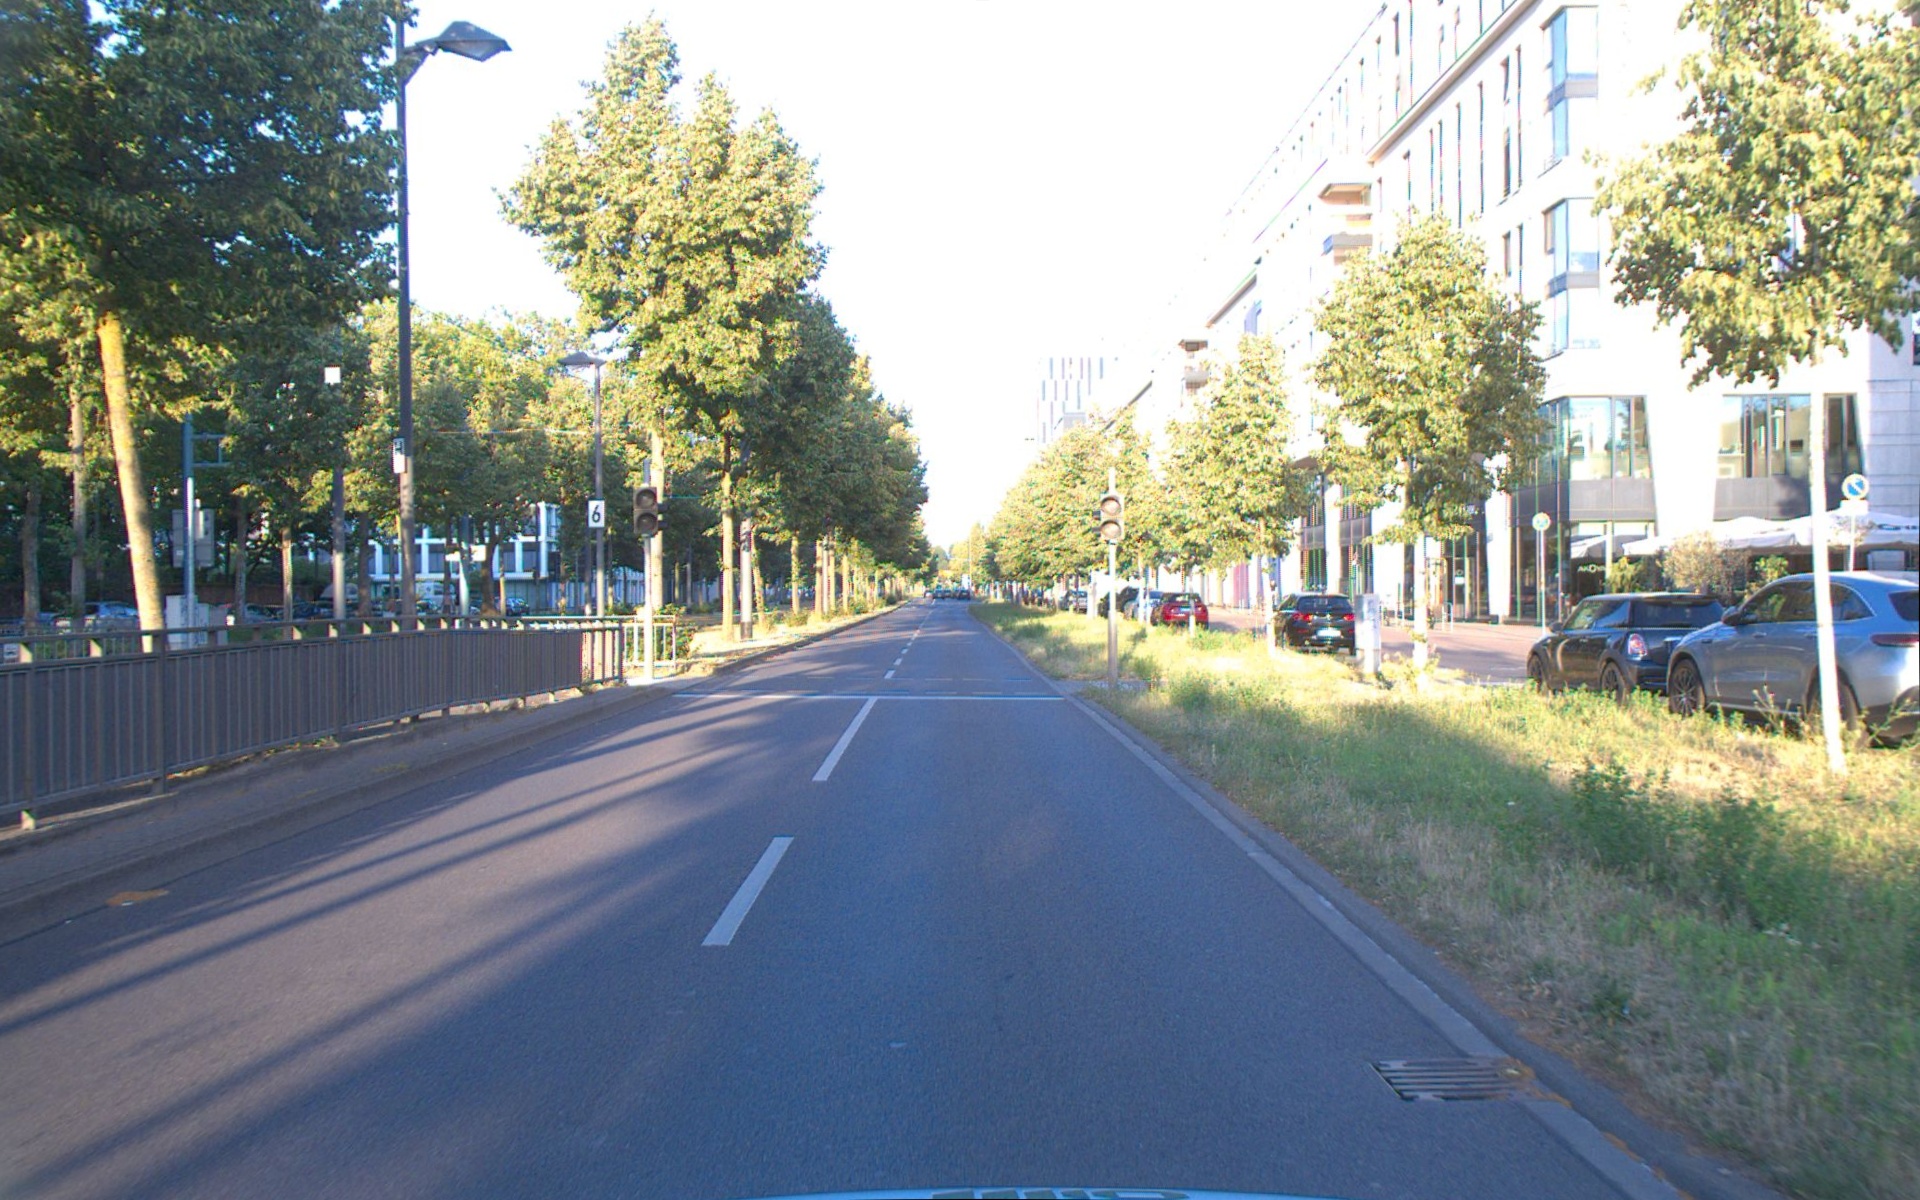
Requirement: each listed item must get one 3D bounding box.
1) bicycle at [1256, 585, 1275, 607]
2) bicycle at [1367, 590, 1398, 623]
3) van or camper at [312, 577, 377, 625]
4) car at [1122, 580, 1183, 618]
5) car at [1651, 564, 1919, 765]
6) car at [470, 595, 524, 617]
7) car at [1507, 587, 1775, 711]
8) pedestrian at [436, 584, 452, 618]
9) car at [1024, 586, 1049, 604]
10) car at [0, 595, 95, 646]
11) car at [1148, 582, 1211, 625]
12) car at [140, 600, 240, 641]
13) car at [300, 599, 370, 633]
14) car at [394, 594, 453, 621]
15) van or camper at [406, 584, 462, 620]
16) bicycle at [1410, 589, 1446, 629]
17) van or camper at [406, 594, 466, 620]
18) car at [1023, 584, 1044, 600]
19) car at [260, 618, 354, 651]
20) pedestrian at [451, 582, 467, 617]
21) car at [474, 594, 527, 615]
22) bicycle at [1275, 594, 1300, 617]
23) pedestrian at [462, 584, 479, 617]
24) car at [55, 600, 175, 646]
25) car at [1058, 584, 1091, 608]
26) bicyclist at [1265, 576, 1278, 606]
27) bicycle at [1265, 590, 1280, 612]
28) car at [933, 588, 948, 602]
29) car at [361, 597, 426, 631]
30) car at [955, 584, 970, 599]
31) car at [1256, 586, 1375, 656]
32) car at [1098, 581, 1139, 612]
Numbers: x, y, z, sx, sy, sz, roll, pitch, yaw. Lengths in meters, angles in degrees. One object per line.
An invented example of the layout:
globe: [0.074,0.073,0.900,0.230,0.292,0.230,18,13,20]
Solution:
bicycle: [15.115,-0.180,81.875,0.523,1.078,1.610,-1,0,-6]
bicycle: [15.412,0.231,60.322,0.535,1.148,1.867,-2,0,-2]
van or camper: [-37.520,0.043,100.907,2.043,2.783,5.493,-1,0,-2]
car: [8.133,-0.067,70.236,1.882,1.527,5.009,-1,1,-1]
car: [8.622,0.502,16.065,1.772,1.660,4.675,-1,1,-1]
car: [-37.674,0.472,134.750,3.908,1.668,1.921,-1,0,-4]
car: [8.566,0.556,21.197,1.714,1.422,3.999,0,0,-2]
pedestrian: [-28.043,0.057,89.874,0.680,1.789,0.864,-1,0,-8]
car: [7.190,-0.483,155.196,1.904,1.576,4.809,-1,0,-3]
car: [-38.581,0.836,69.549,1.951,2.049,4.003,-1,0,6]
car: [8.266,0.108,62.517,1.772,1.527,3.958,-1,1,-1]
car: [-30.275,0.775,65.172,1.861,1.525,4.306,-1,0,0]
car: [-31.239,0.773,82.800,1.765,1.588,3.840,-1,0,5]
car: [-31.310,0.424,96.601,1.952,1.512,4.001,-1,0,2]
van or camper: [-46.880,0.178,147.501,2.653,3.139,6.265,0,0,3]
bicycle: [15.333,0.283,54.203,0.604,1.253,1.670,-1,0,-3]
van or camper: [-38.372,0.519,121.164,3.915,1.822,1.995,-1,0,-11]
car: [7.231,-0.811,162.449,1.817,1.556,4.482,1,0,-1]
car: [-29.511,1.519,74.928,1.952,1.338,5.144,-1,0,3]
pedestrian: [-27.379,-0.012,90.361,0.680,1.903,0.864,-1,0,-8]
car: [-38.183,0.328,137.393,3.908,1.668,1.921,-1,0,-4]
bicycle: [15.034,0.254,75.893,0.607,1.051,2.260,-1,0,-2]
pedestrian: [-26.588,0.033,89.826,0.679,1.773,0.866,-1,0,-3]
car: [-30.266,0.801,59.407,1.953,1.525,4.557,-1,0,0]
car: [7.675,-0.295,111.302,1.772,1.527,4.824,-1,1,-1]
bicyclist: [16.660,-0.469,88.373,0.533,1.596,1.020,-1,0,3]
bicycle: [16.666,0.044,88.300,0.532,1.137,1.913,-1,0,3]
car: [-2.840,-0.757,240.341,2.045,2.049,3.999,-1,1,-1]
car: [-31.225,0.762,91.301,1.953,1.780,4.790,-1,0,-1]
car: [0.346,-1.158,232.802,1.953,2.049,3.999,-1,1,-1]
car: [8.244,0.451,38.716,1.772,1.527,4.367,-1,1,-1]
car: [8.124,-0.205,85.010,1.689,1.527,4.232,0,1,0]
